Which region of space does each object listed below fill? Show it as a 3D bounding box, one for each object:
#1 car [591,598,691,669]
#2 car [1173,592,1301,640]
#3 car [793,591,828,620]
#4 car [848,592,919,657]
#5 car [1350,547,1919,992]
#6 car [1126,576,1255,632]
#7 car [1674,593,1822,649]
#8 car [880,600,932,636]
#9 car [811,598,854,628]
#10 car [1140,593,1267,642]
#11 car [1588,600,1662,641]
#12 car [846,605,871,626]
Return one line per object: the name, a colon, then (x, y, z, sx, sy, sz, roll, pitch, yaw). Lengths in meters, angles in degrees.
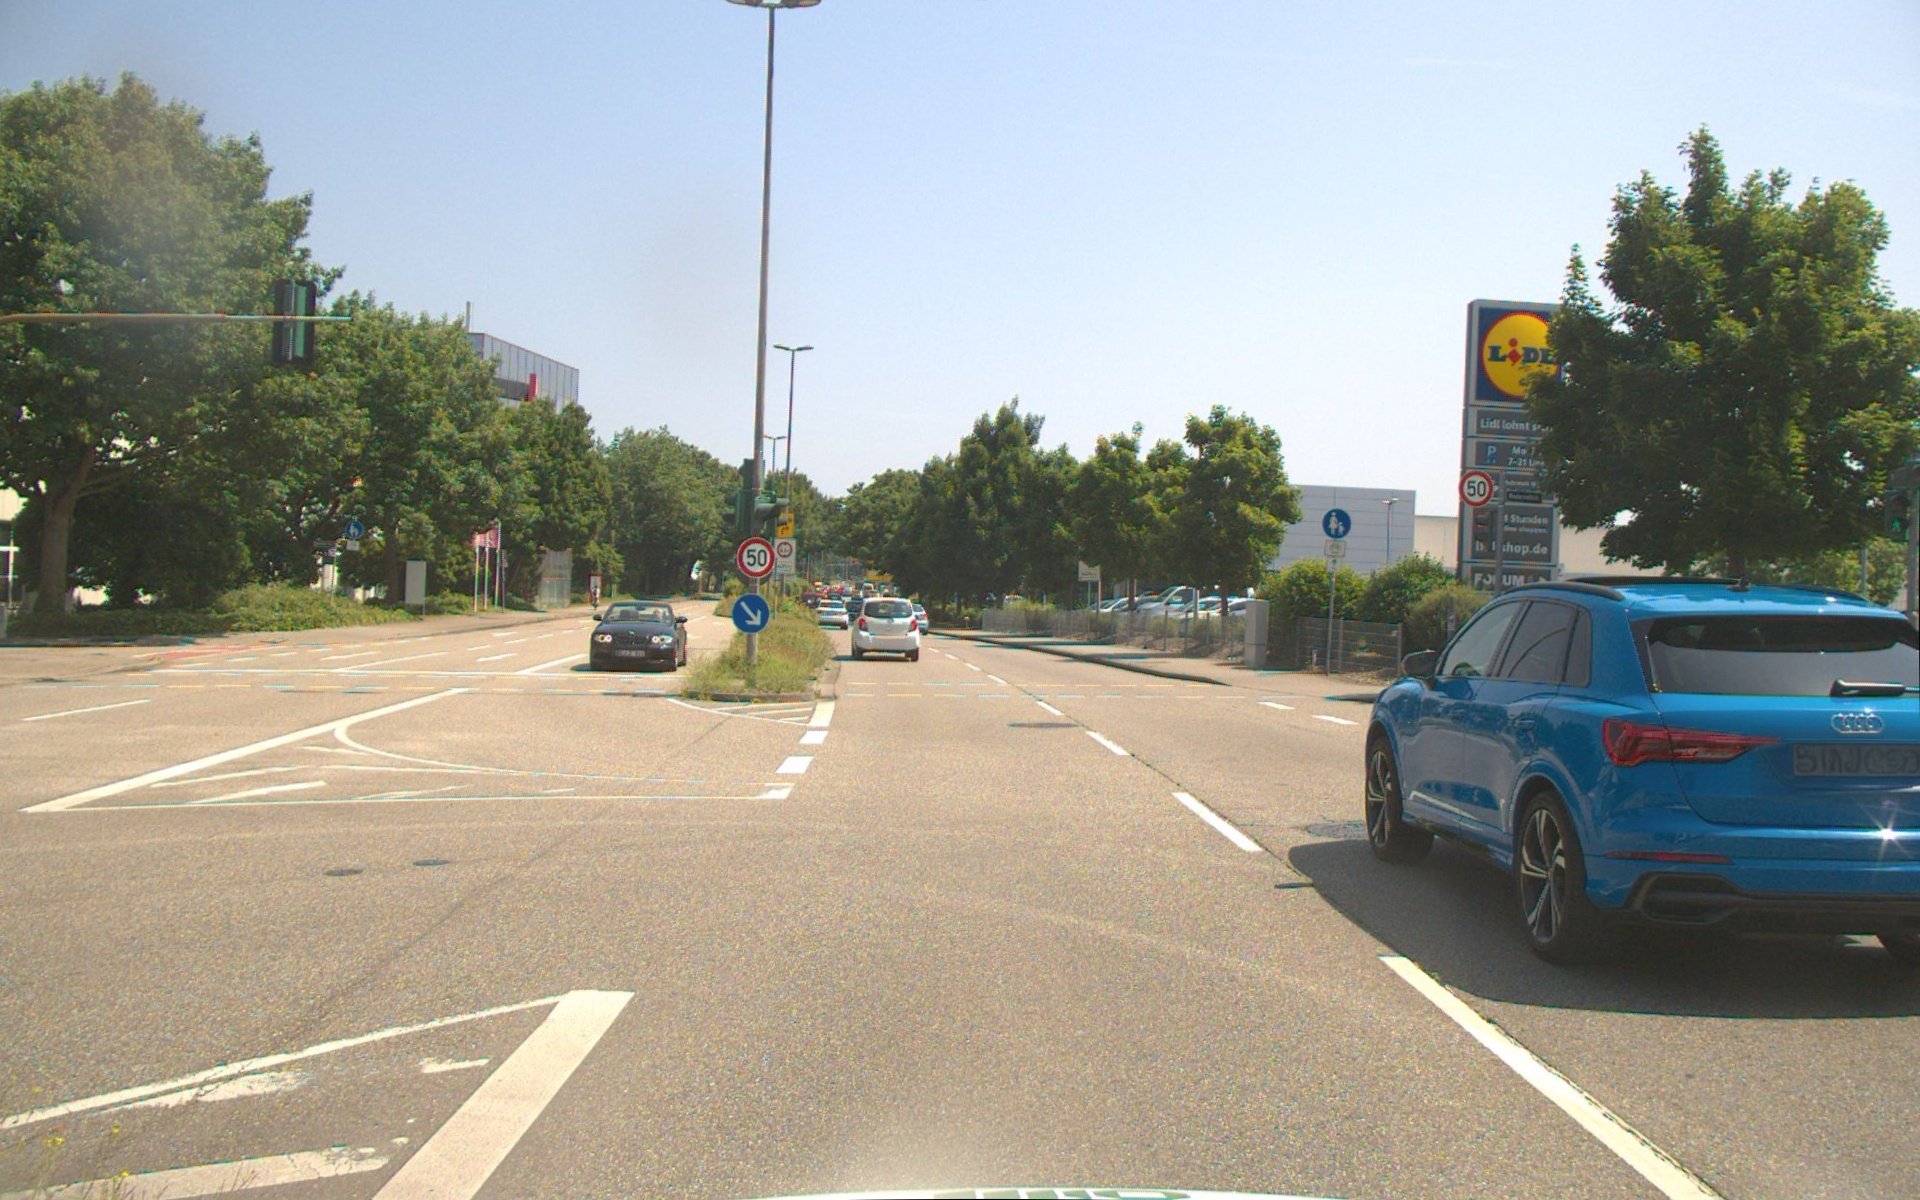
car: (-6.440, 0.642, 33.740, 1.696, 1.347, 4.143, 1, 0, -7)
car: (9.326, 0.528, 55.770, 3.920, 1.446, 1.695, 2, 0, -7)
car: (-8.768, 0.328, 96.852, 1.849, 1.636, 3.993, 1, 0, -8)
car: (-1.966, 0.589, 41.781, 1.607, 1.579, 3.320, 0, 0, -6)
car: (3.334, 0.609, 8.222, 1.771, 1.620, 4.349, 0, 0, 0)
car: (8.758, 0.159, 63.095, 4.528, 1.958, 1.824, 2, 0, -6)
car: (21.008, 0.559, 44.271, 1.702, 1.418, 4.074, 1, -1, -6)
car: (-2.527, 0.822, 76.681, 1.831, 1.498, 3.991, 3, 0, -9)
car: (-6.403, 0.641, 82.619, 1.850, 1.377, 3.992, 3, 0, -8)
car: (8.851, 0.643, 60.358, 4.281, 1.620, 1.825, 2, 0, -5)
car: (24.661, 0.737, 61.421, 1.241, 1.445, 2.953, 0, 0, -8)
car: (-6.753, 1.034, 110.151, 1.414, 1.372, 3.454, 1, 0, -7)
